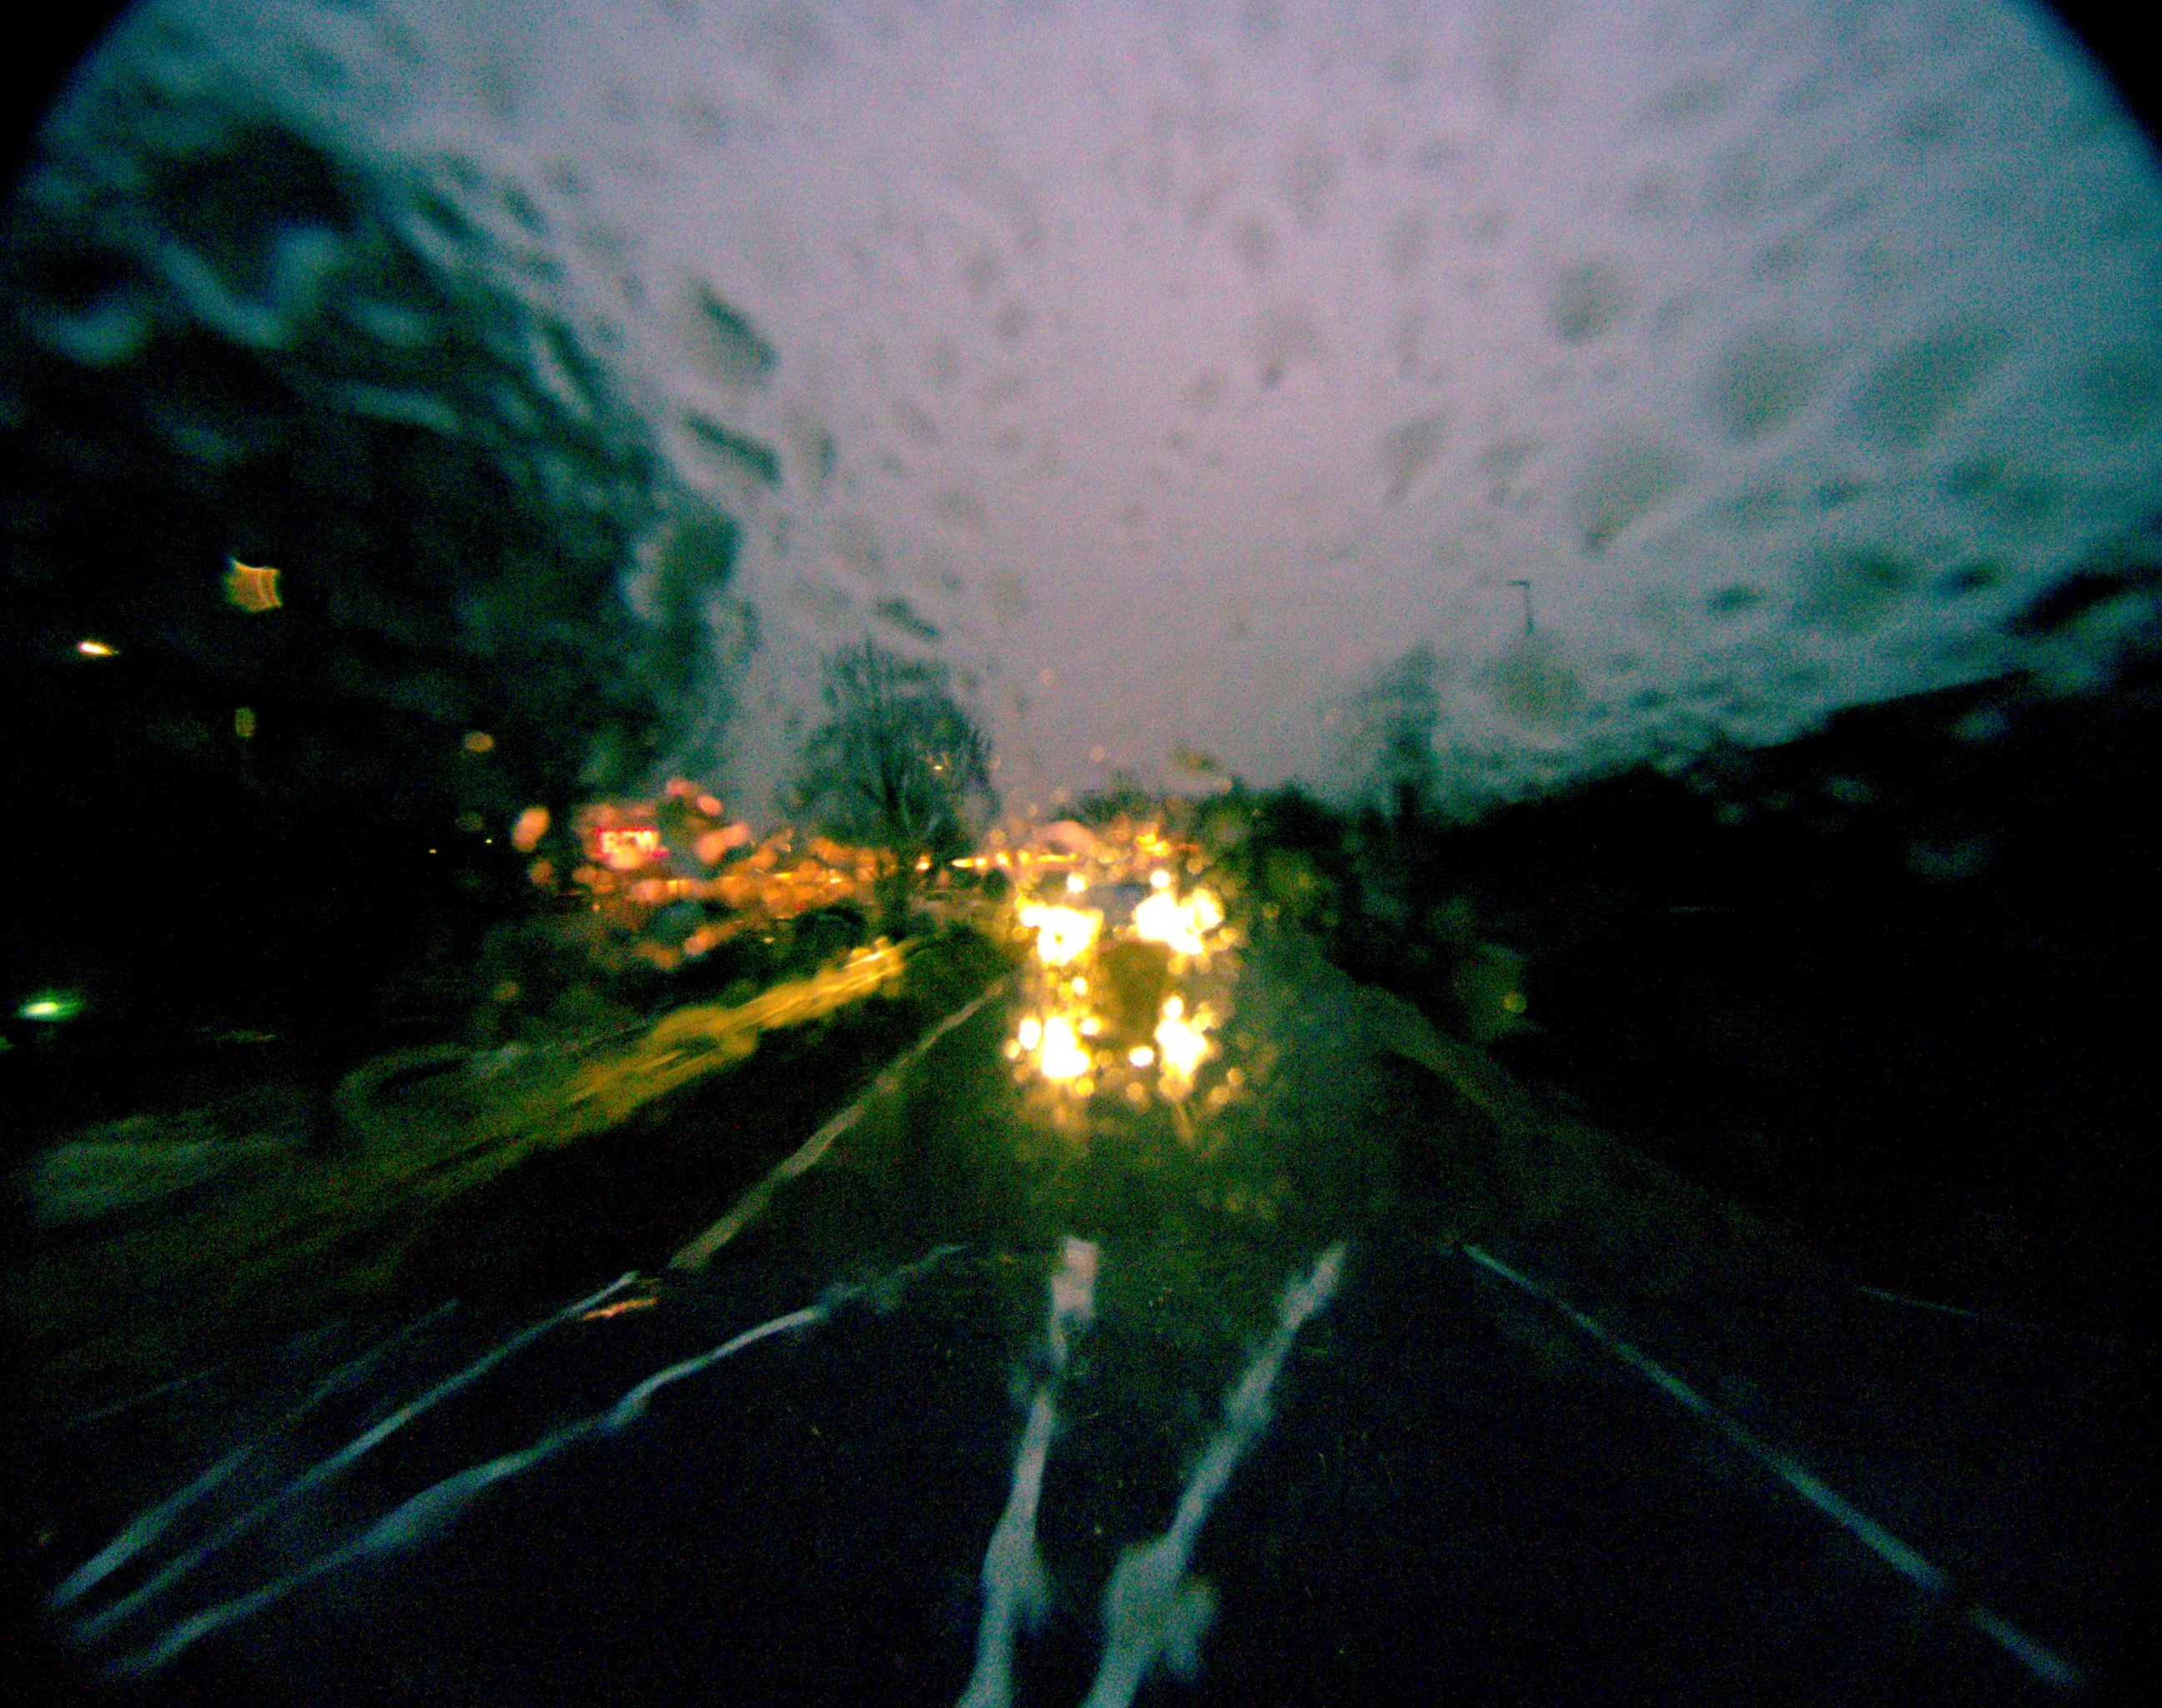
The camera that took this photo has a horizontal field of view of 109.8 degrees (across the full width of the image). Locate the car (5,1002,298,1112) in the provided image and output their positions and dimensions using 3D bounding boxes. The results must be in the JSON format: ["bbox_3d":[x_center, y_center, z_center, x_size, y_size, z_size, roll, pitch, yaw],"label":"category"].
[{"bbox_3d":[-17.521,3.786,14.529,3.213,1.305,1.388,-3,1,-24],"label":"car"}]

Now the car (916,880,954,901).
[{"bbox_3d":[-12.183,3.008,63.115,1.804,1.586,3.971,-3,0,-30],"label":"car"}]

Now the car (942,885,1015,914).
[{"bbox_3d":[-6.269,2.761,46.386,4.182,1.389,1.849,-2,1,-16],"label":"car"}]

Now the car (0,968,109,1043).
[{"bbox_3d":[-30.818,4.417,21.827,1.624,1.598,3.833,-3,0,-18],"label":"car"}]

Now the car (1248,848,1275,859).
[{"bbox_3d":[29.569,-0.053,124.533,4.005,1.588,1.809,-2,1,19],"label":"car"}]

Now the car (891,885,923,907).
[{"bbox_3d":[-13.688,3.244,59.579,1.729,1.493,4.019,-3,0,-23],"label":"car"}]

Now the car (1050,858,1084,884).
[{"bbox_3d":[-1.515,1.719,77.381,2.282,2.426,5.233,-2,1,-14],"label":"car"}]

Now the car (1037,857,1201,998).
[{"bbox_3d":[0.711,0.882,11.018,1.809,1.452,4.248,-5,0,7],"label":"car"}]

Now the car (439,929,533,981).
[{"bbox_3d":[-22.829,3.819,29.320,1.570,1.421,3.755,-3,0,-18],"label":"car"}]

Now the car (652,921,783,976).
[{"bbox_3d":[-12.709,3.270,26.851,4.004,1.412,1.628,-3,1,-22],"label":"car"}]

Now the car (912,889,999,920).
[{"bbox_3d":[-7.202,2.851,43.612,4.707,1.389,1.902,-2,1,-16],"label":"car"}]

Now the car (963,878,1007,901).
[{"bbox_3d":[-7.630,2.821,60.300,3.259,1.526,1.390,-4,0,-15],"label":"car"}]

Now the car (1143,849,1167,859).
[{"bbox_3d":[13.316,-0.043,136.599,4.004,1.588,1.809,-2,1,23],"label":"car"}]

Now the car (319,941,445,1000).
[{"bbox_3d":[-24.469,4.020,26.769,1.570,1.421,3.757,-3,0,-13],"label":"car"}]

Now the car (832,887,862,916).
[{"bbox_3d":[-14.826,2.972,48.208,1.600,1.576,3.628,-3,0,-15],"label":"car"}]

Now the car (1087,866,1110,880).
[{"bbox_3d":[1.865,2.090,83.739,1.715,1.404,4.009,-2,1,-11],"label":"car"}]

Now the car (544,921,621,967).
[{"bbox_3d":[-21.426,3.804,32.849,1.747,1.417,4.309,-3,0,-20],"label":"car"}]

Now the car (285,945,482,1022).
[{"bbox_3d":[-21.216,3.875,23.320,1.719,1.592,4.041,-2,0,23],"label":"car"}]

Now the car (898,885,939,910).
[{"bbox_3d":[-11.738,3.080,54.757,1.828,1.629,4.462,-3,-1,-26],"label":"car"}]

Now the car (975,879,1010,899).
[{"bbox_3d":[-7.536,2.941,64.560,1.722,1.508,3.251,-4,1,-28],"label":"car"}]

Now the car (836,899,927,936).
[{"bbox_3d":[-9.809,3.097,37.258,4.183,1.389,1.901,-2,1,-18],"label":"car"}]

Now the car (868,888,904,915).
[{"bbox_3d":[-13.079,3.142,50.876,1.807,1.526,4.536,-3,0,-20],"label":"car"}]

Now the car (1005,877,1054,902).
[{"bbox_3d":[-3.477,2.424,52.194,1.769,1.421,3.817,-2,1,23],"label":"car"}]

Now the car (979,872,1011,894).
[{"bbox_3d":[-8.253,2.744,72.794,1.889,1.946,4.953,-4,0,-19],"label":"car"}]

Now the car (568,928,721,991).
[{"bbox_3d":[-13.930,3.341,24.533,4.004,1.431,1.794,-3,1,-22],"label":"car"}]

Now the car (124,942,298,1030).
[{"bbox_3d":[-25.933,3.855,22.864,1.725,1.858,4.028,-3,0,-22],"label":"car"}]

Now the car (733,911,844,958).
[{"bbox_3d":[-11.719,3.193,30.520,4.004,1.412,1.628,-3,1,-22],"label":"car"}]

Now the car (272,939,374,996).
[{"bbox_3d":[-27.909,4.131,28.119,1.571,1.476,3.753,-3,0,-28],"label":"car"}]

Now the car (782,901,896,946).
[{"bbox_3d":[-10.729,3.052,33.829,4.591,1.447,1.928,-3,1,-18],"label":"car"}]
